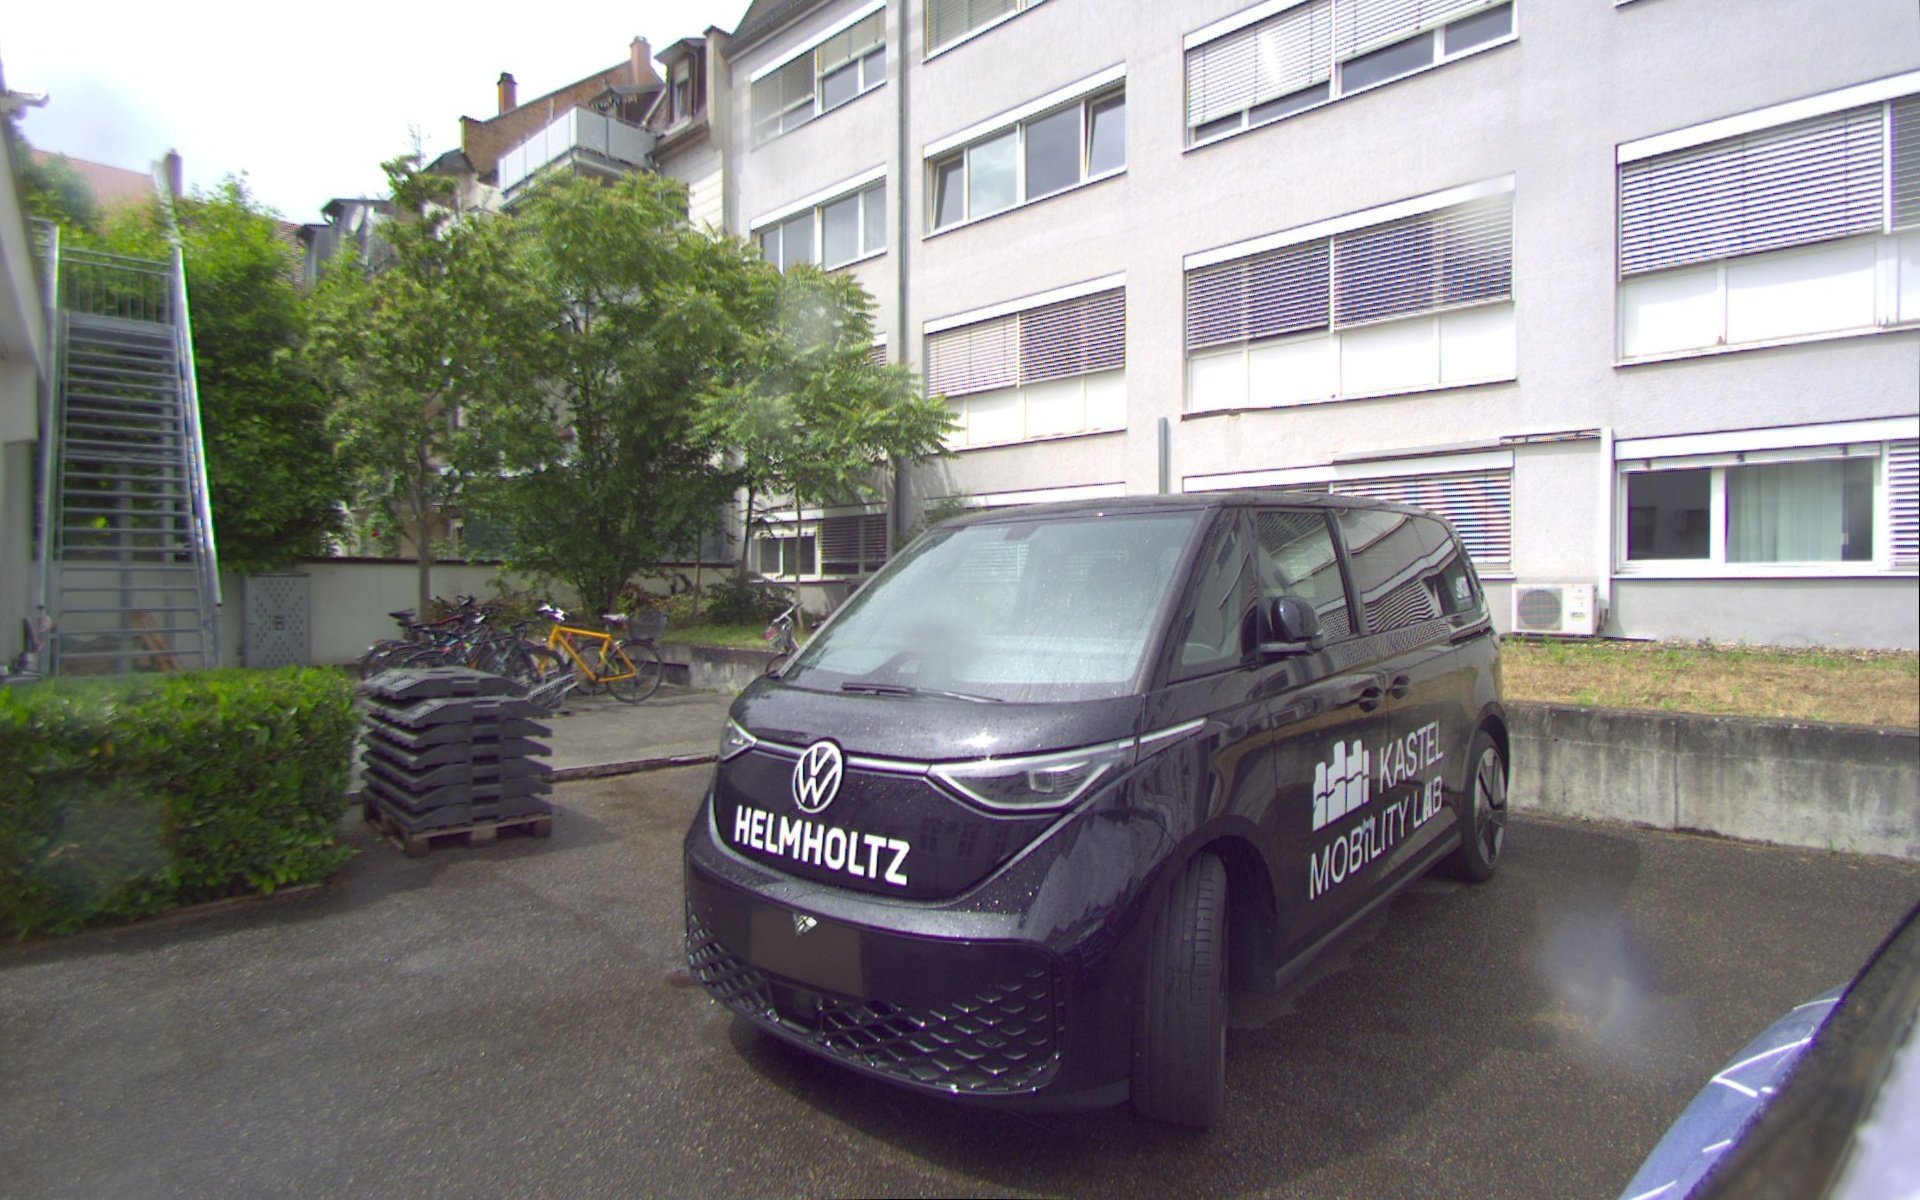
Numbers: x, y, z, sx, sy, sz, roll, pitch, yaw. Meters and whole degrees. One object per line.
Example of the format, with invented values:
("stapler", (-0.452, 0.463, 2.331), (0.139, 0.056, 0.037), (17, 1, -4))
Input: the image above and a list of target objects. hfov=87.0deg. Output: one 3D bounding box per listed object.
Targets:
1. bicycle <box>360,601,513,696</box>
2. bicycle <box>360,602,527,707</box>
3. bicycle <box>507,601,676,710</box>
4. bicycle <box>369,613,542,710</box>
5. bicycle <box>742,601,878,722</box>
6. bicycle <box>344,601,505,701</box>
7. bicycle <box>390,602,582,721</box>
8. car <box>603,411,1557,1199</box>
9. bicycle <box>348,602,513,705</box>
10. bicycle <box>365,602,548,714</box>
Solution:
("bicycle", (-6.665, 0.587, 12.960), (0.354, 1.117, 1.729), (1, 1, 42))
("bicycle", (-5.954, 0.593, 11.743), (0.331, 1.117, 1.729), (1, 1, 42))
("bicycle", (-4.095, 0.587, 11.343), (1.764, 1.117, 0.366), (-1, 1, -40))
("bicycle", (-5.697, 0.662, 11.518), (0.329, 0.979, 1.769), (1, 1, 42))
("bicycle", (-1.605, 0.601, 10.597), (0.439, 1.117, 1.792), (-4, 3, -43))
("bicycle", (-6.506, 0.591, 12.373), (0.344, 1.117, 1.729), (1, 1, 42))
("bicycle", (-4.887, 0.596, 10.508), (1.764, 1.117, 0.405), (-1, 1, -40))
("car", (1.063, 0.466, 4.565), (1.962, 1.888, 4.678), (0, 2, 41))
("bicycle", (-6.226, 0.594, 11.980), (0.341, 1.117, 1.729), (1, 1, 42))
("bicycle", (-5.471, 0.595, 11.066), (1.764, 1.117, 0.354), (-1, 1, -40))
